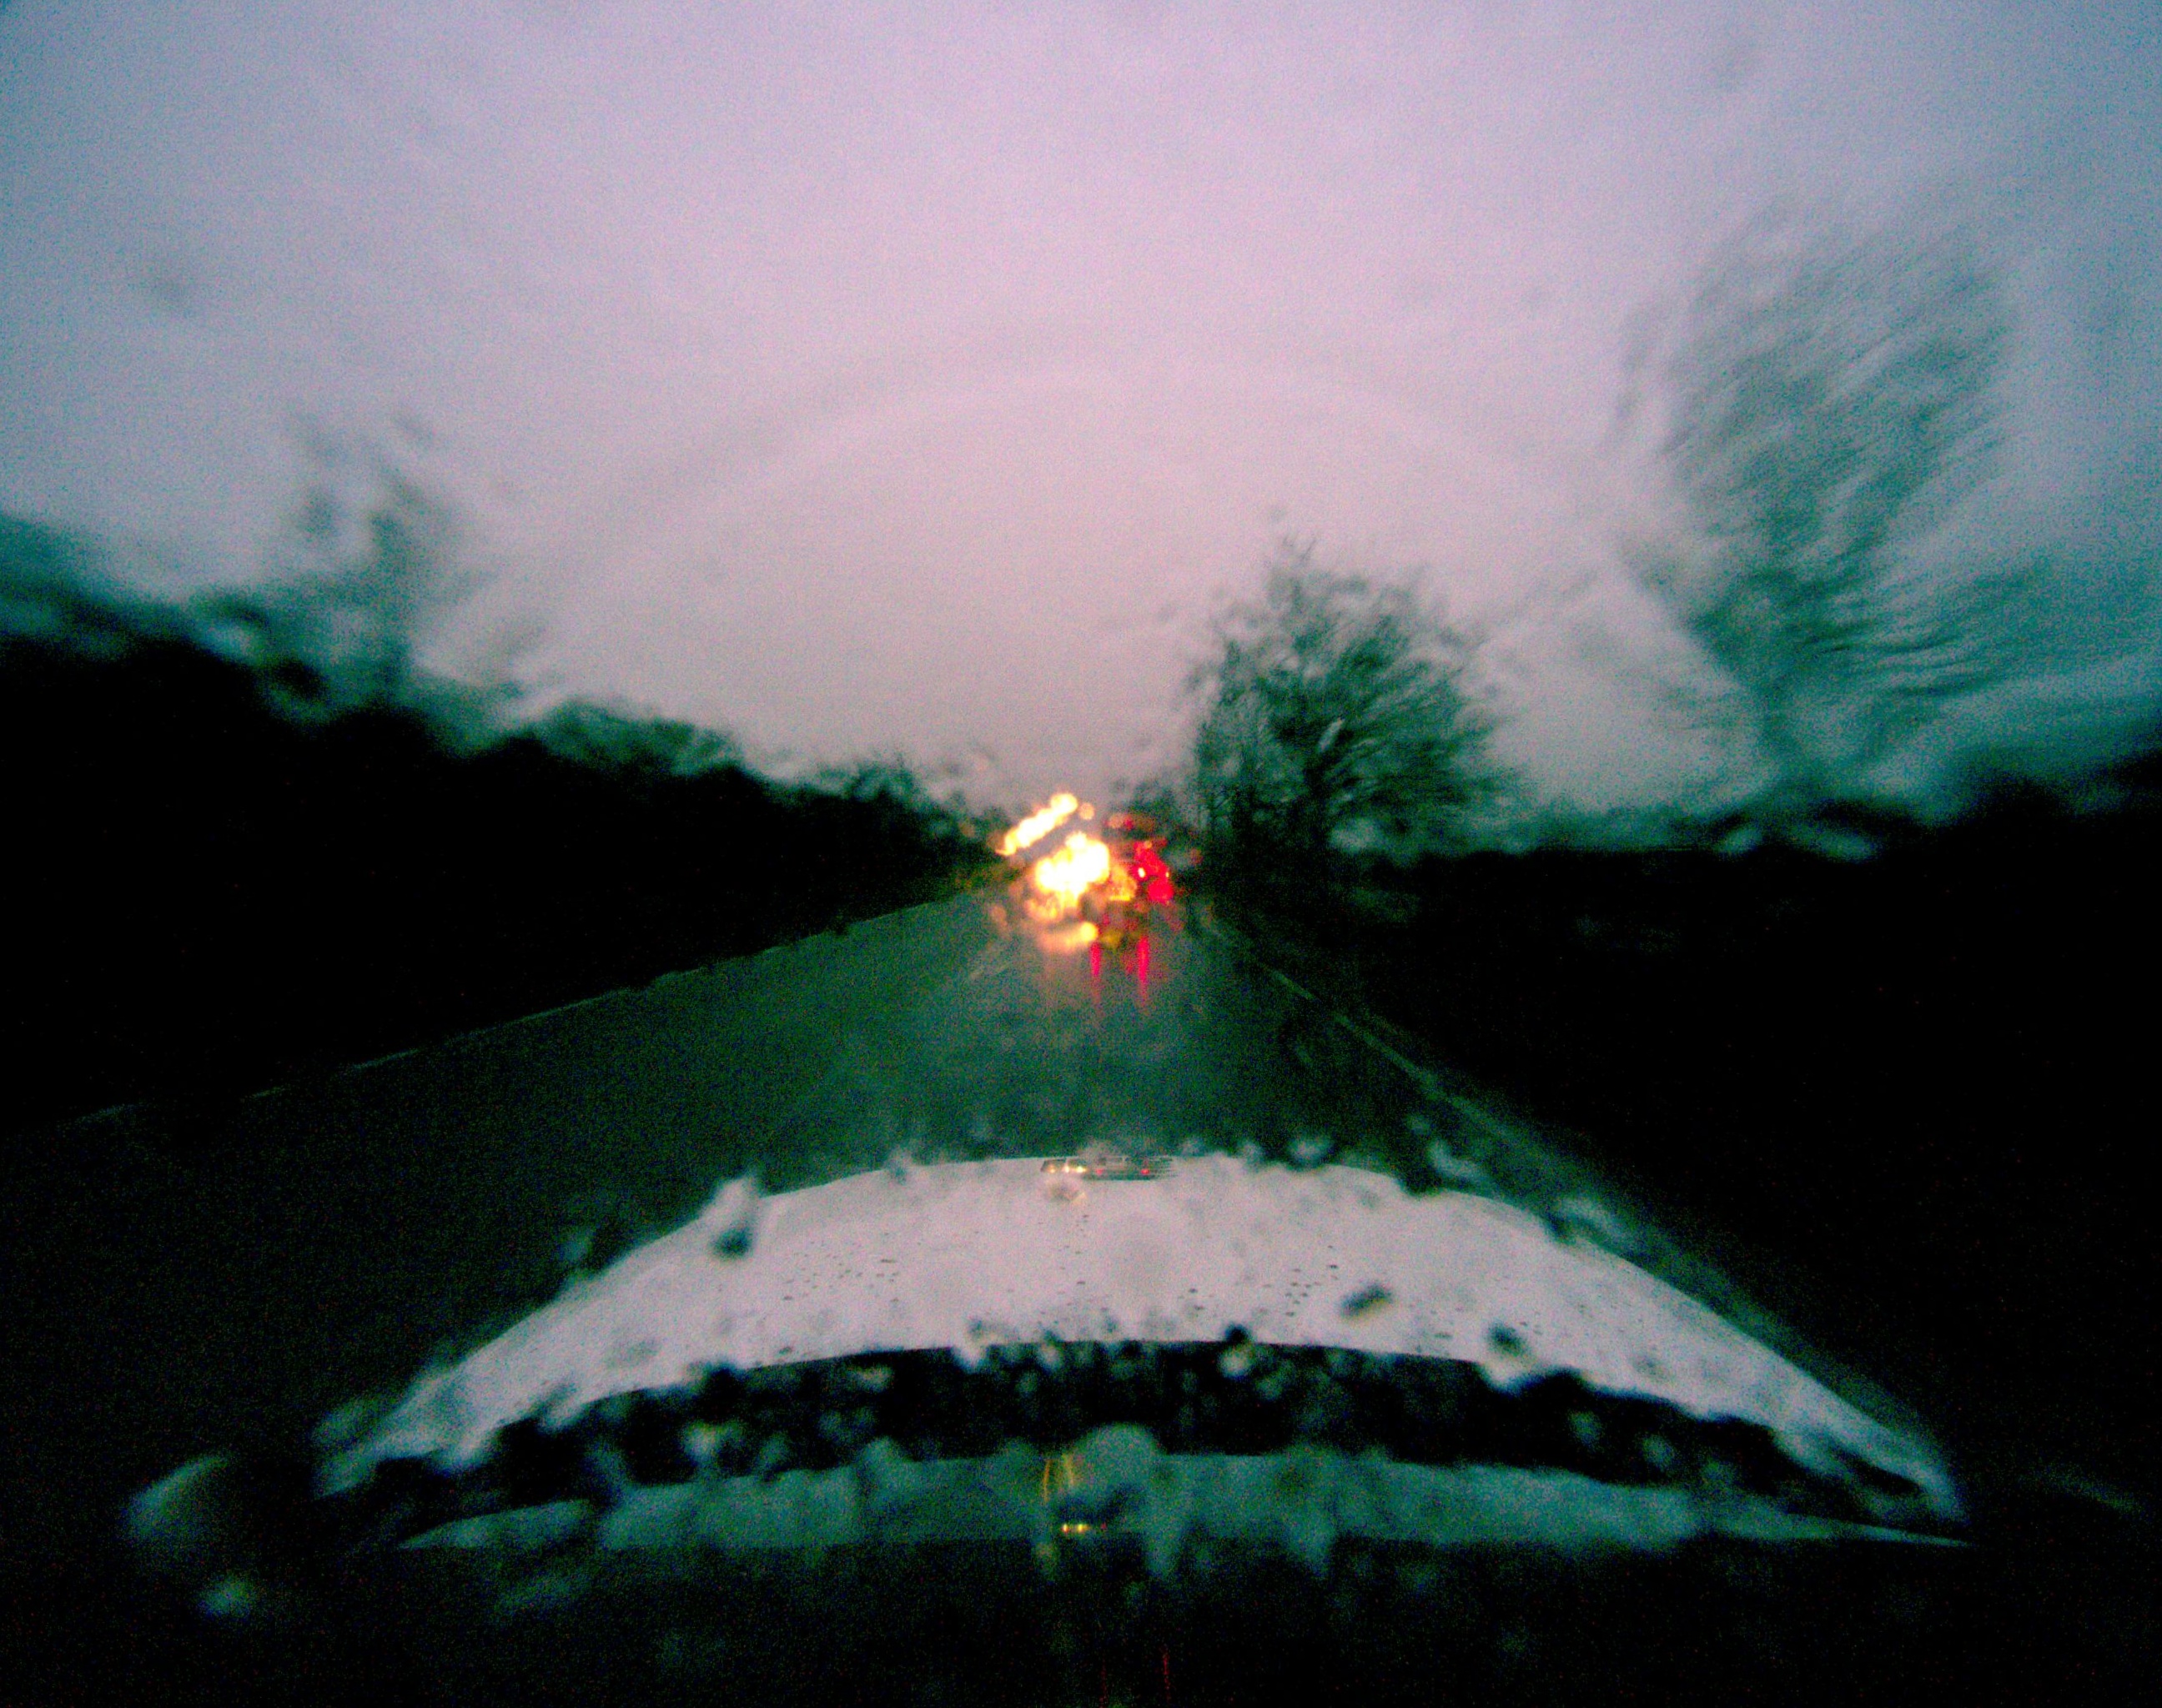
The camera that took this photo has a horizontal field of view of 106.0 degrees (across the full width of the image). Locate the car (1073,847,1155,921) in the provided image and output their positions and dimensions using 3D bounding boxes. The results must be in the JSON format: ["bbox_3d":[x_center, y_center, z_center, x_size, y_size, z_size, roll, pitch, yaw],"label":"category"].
[{"bbox_3d":[0.876,0.732,21.698,1.986,1.785,4.002,0,0,2],"label":"car"}]

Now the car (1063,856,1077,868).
[{"bbox_3d":[-1.481,1.037,107.180,1.747,1.647,4.046,0,0,-2],"label":"car"}]

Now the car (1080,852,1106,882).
[{"bbox_3d":[0.786,0.835,52.756,1.568,1.875,3.711,0,0,2],"label":"car"}]

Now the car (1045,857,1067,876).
[{"bbox_3d":[-2.081,1.061,69.332,1.685,1.530,4.086,0,0,1],"label":"car"}]
